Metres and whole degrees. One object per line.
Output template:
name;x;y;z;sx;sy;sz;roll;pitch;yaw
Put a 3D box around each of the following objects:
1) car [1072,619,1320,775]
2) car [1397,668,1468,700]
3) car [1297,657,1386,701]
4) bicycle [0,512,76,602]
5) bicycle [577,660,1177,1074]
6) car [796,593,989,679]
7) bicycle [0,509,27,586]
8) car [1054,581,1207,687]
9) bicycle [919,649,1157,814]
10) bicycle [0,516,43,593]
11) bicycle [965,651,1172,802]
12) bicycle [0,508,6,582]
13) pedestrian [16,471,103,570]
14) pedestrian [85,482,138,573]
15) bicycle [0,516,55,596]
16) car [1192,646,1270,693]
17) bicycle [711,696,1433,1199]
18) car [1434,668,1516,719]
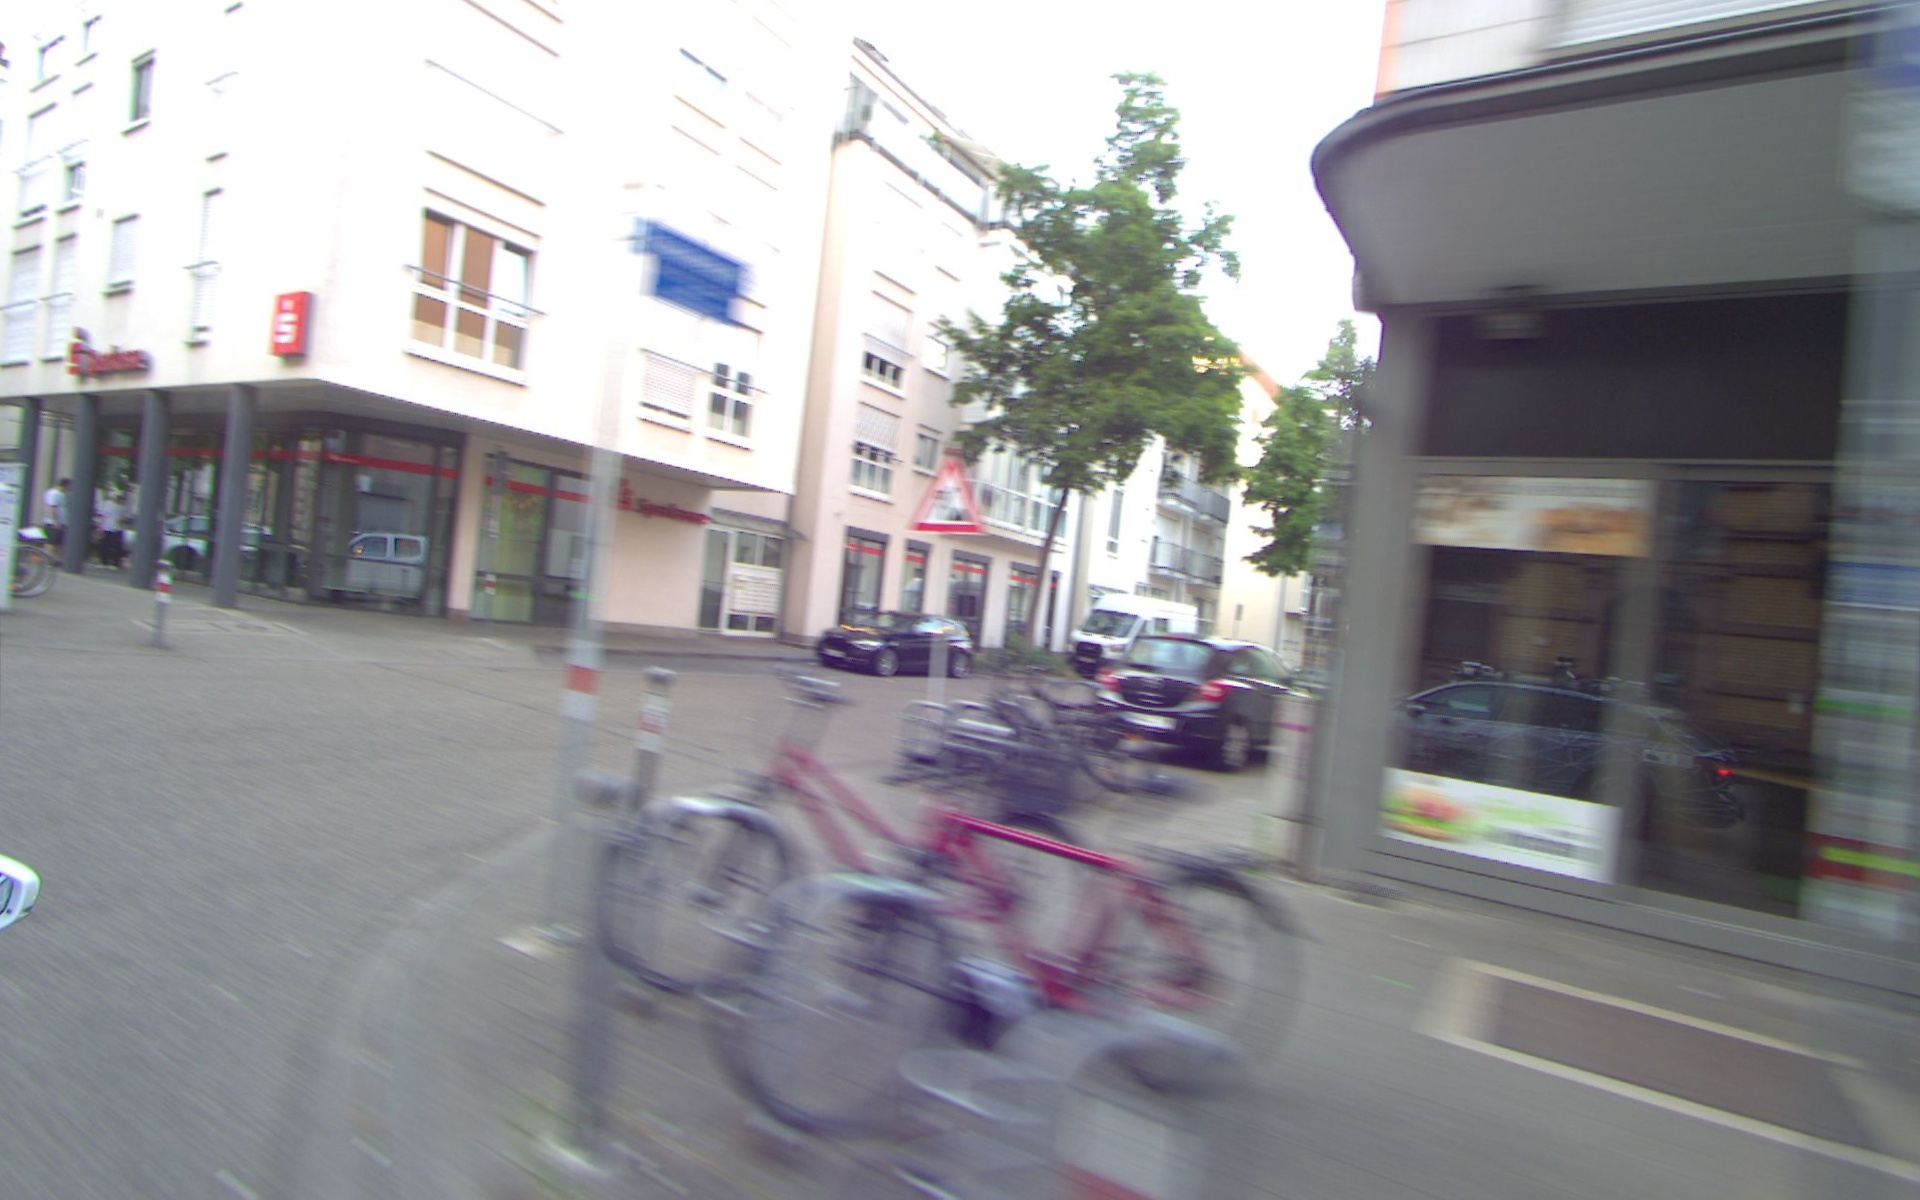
car;3.045;1.152;12.435;1.679;1.493;3.670;5;-1;34
car;32.157;5.711;68.553;3.923;1.704;1.949;6;-1;14
car;18.936;3.918;50.090;3.925;1.704;1.948;5;-1;19
bicycle;-12.749;-0.593;13.128;0.568;1.146;1.726;5;1;21
bicycle;-0.283;0.871;3.556;1.916;1.149;0.654;5;2;-20
car;-1.392;0.850;22.353;1.765;1.451;4.230;10;2;38
bicycle;-14.991;-0.842;14.814;0.643;1.132;1.721;6;1;36
car;5.644;1.221;32.268;2.041;2.767;6.770;9;0;32
bicycle;0.609;1.041;8.427;1.935;1.080;0.562;4;0;38
bicycle;-14.103;-0.698;14.104;0.643;1.067;1.721;6;1;36
bicycle;0.941;1.082;9.001;1.731;1.080;0.562;4;0;38
bicycle;-15.514;-0.905;15.031;0.643;1.132;1.721;6;1;36
pedestrian;-17.253;-1.507;19.298;0.898;1.746;0.773;6;3;-11
pedestrian;-17.346;-1.486;20.586;0.658;1.746;0.656;5;3;-35
bicycle;-13.573;-0.643;13.712;0.643;1.067;1.721;6;1;36
car;10.818;2.783;40.006;1.740;1.559;4.091;5;-2;33
bicycle;0.326;0.936;2.925;1.916;1.149;0.654;5;2;-20
car;17.641;3.205;34.348;1.783;1.436;4.120;5;-2;36
